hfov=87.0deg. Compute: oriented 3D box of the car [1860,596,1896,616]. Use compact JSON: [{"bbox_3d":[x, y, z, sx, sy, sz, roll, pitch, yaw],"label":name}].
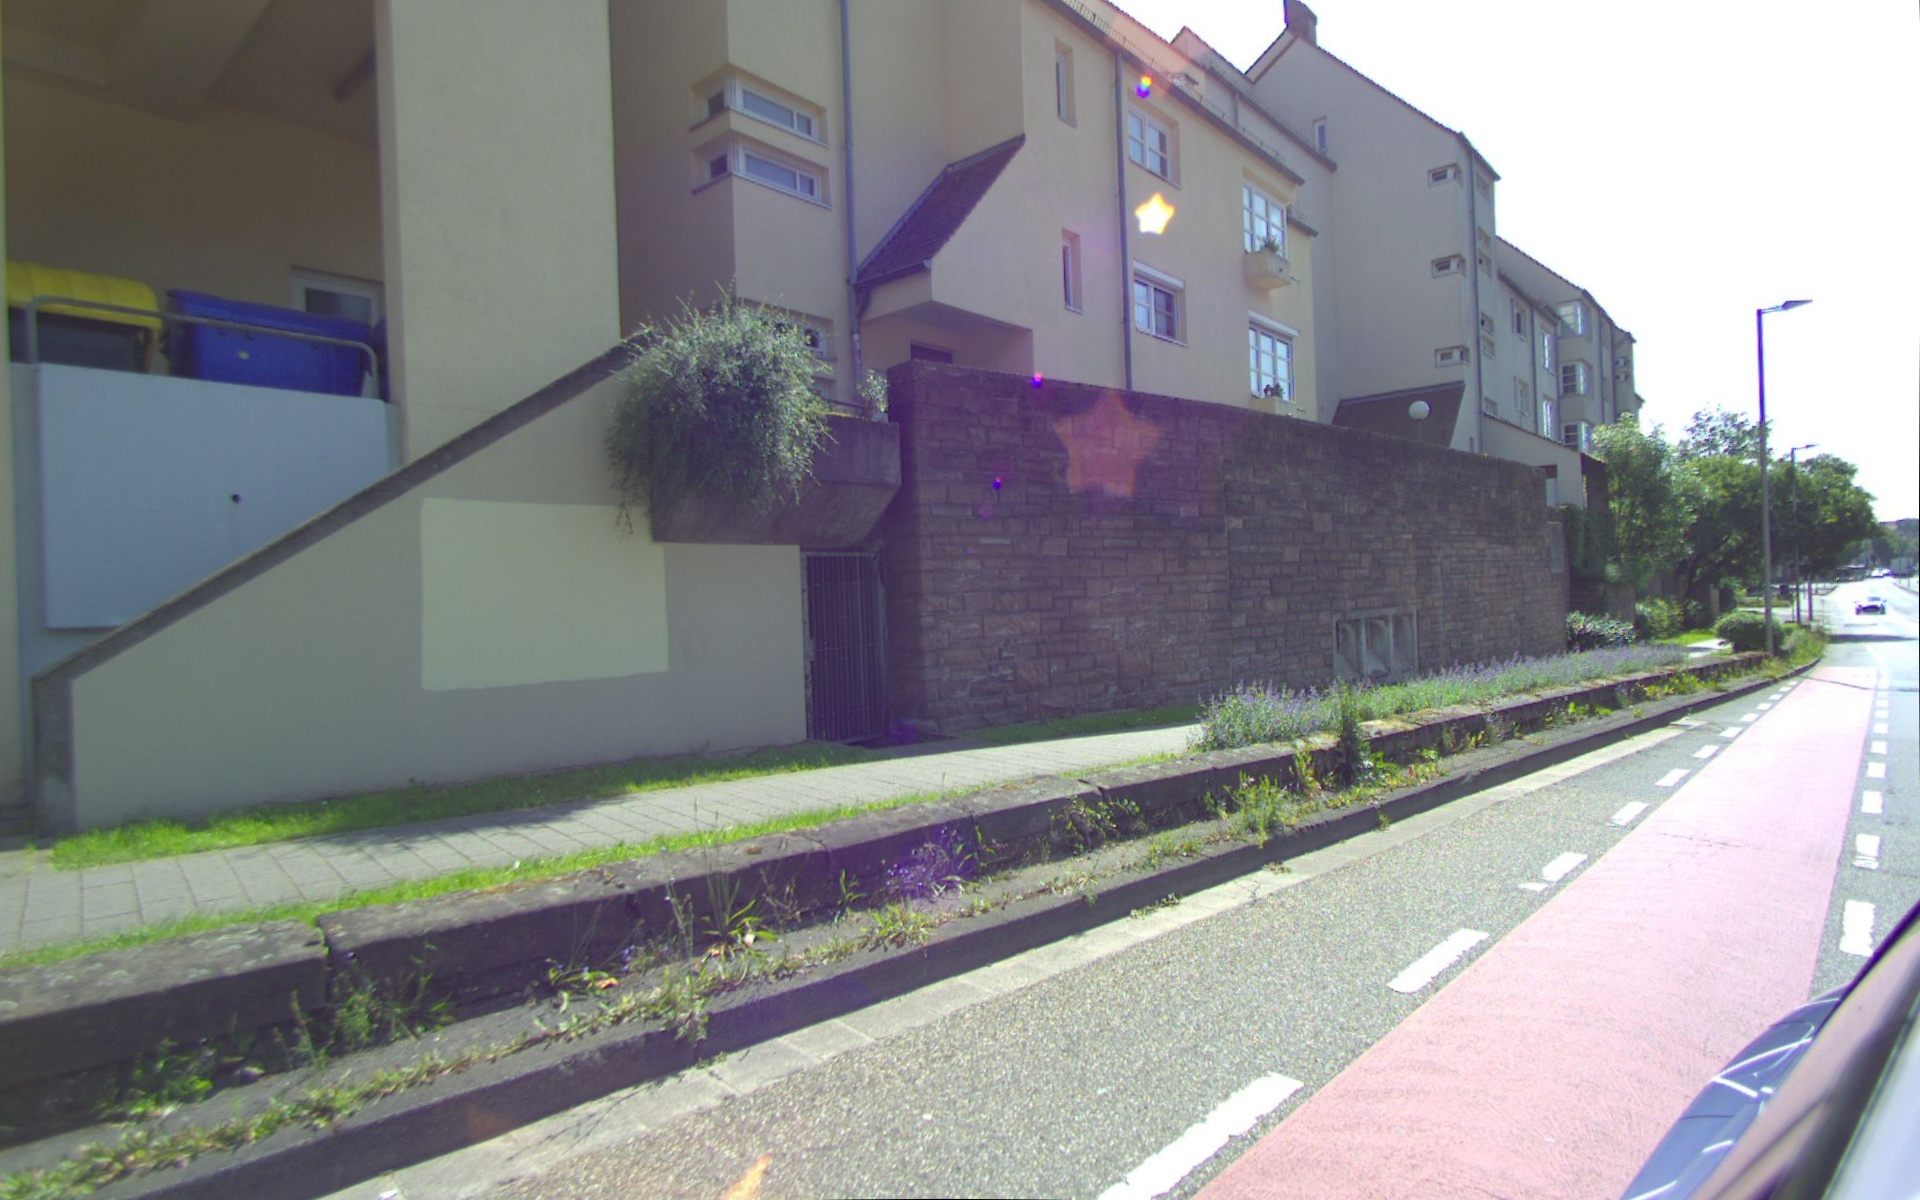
[{"bbox_3d":[71.592,0.438,78.899,1.993,1.460,3.937,-1,0,43],"label":"car"}]
